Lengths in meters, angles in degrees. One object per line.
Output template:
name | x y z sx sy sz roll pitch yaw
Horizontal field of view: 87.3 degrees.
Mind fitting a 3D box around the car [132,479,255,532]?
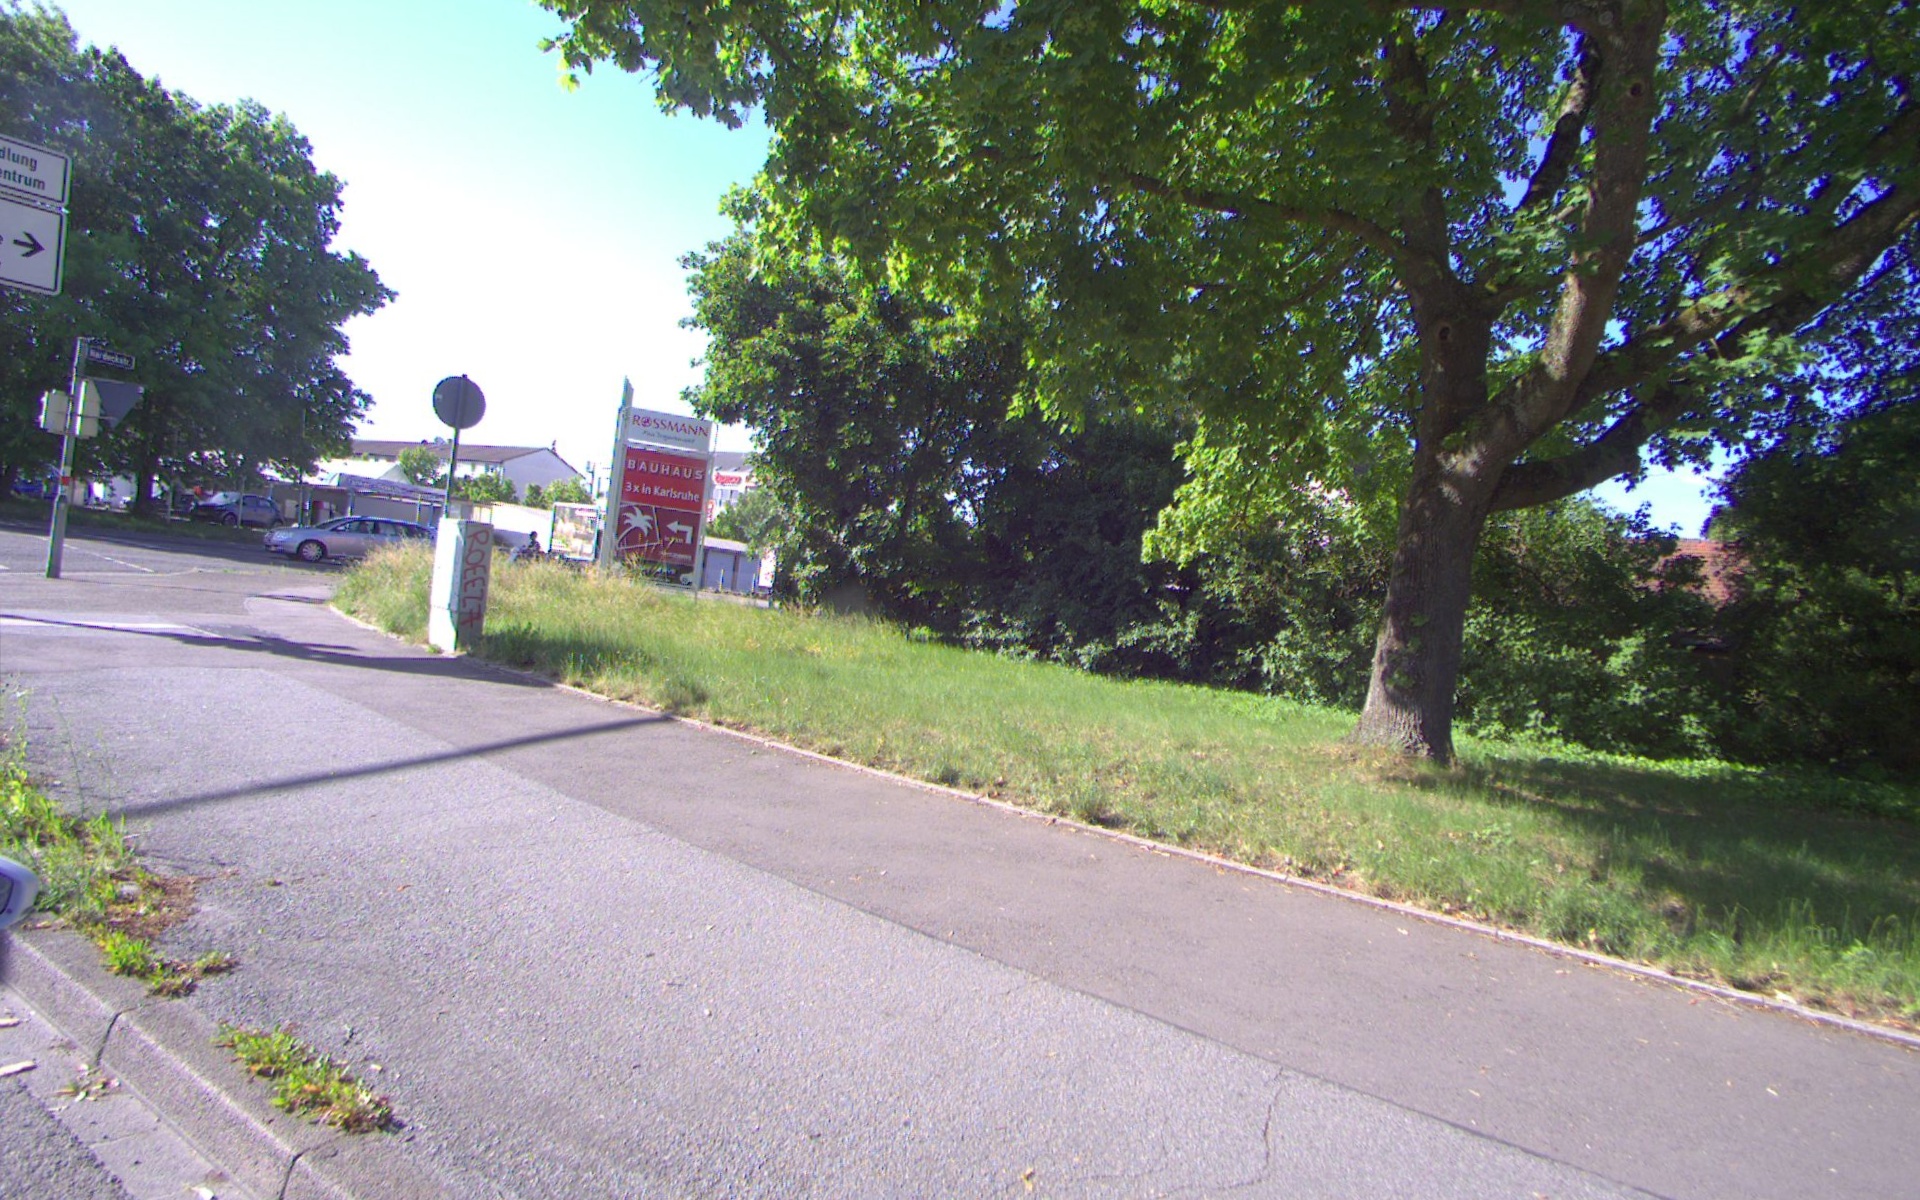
car | -32.944 -4.036 43.366 1.771 1.499 3.854 7 -2 12

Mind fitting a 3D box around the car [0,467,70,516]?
car | -42.656 -4.991 45.168 1.672 1.704 3.729 7 -2 6

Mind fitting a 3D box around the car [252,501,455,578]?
car | -17.486 -1.710 29.178 1.973 1.593 4.610 6 -1 43

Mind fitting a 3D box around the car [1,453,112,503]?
car | -45.750 -6.166 51.032 1.675 1.704 3.722 7 -3 29

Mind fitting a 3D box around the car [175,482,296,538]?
car | -30.927 -3.800 43.094 1.771 1.630 3.854 7 -2 12

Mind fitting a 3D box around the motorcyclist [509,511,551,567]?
motorcyclist | -14.097 -1.993 32.955 0.858 1.699 0.824 9 -2 -42

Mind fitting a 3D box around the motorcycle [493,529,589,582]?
motorcycle | -13.831 -1.458 33.289 2.718 1.285 0.824 10 -3 -43

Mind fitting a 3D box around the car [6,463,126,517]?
car | -39.914 -4.866 45.055 1.772 1.581 3.851 8 -2 0
